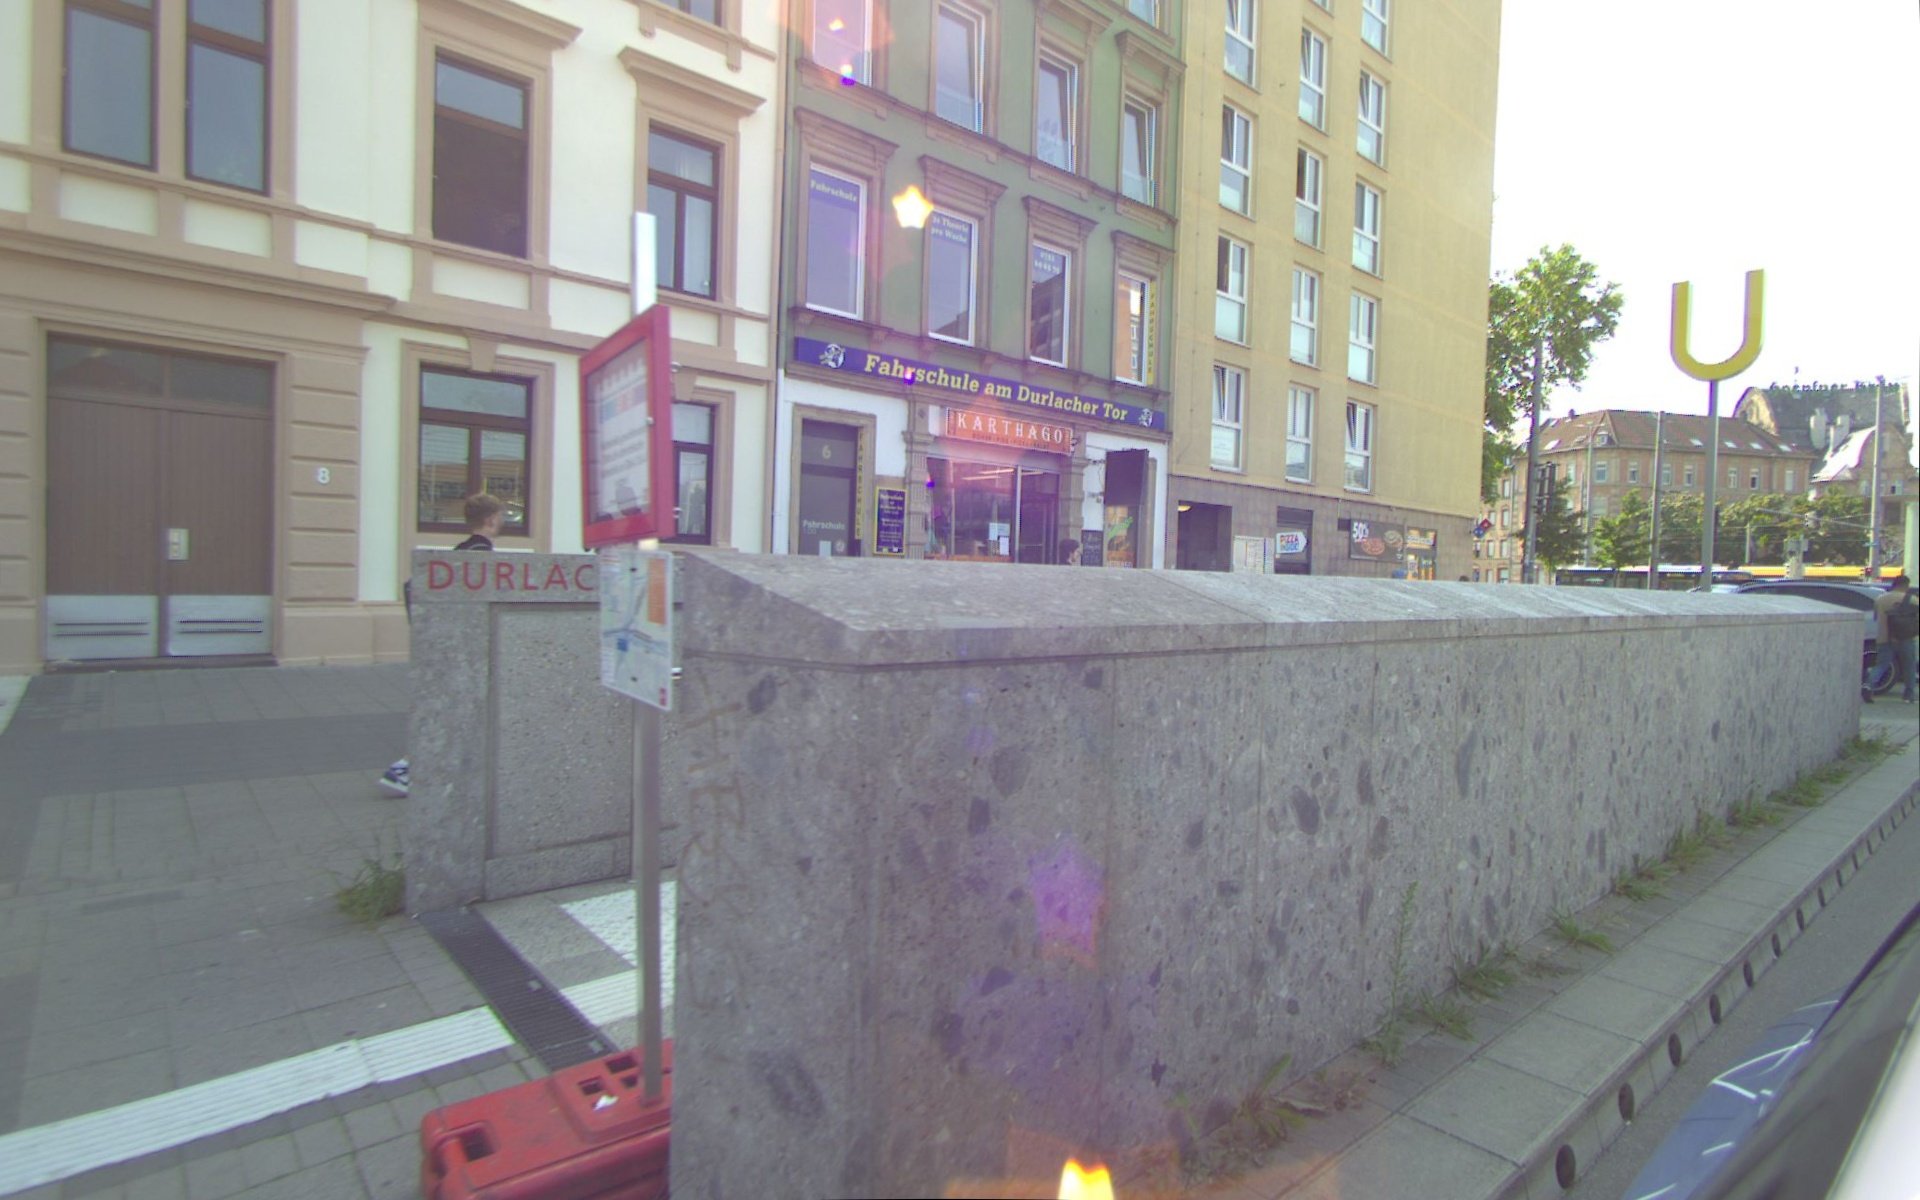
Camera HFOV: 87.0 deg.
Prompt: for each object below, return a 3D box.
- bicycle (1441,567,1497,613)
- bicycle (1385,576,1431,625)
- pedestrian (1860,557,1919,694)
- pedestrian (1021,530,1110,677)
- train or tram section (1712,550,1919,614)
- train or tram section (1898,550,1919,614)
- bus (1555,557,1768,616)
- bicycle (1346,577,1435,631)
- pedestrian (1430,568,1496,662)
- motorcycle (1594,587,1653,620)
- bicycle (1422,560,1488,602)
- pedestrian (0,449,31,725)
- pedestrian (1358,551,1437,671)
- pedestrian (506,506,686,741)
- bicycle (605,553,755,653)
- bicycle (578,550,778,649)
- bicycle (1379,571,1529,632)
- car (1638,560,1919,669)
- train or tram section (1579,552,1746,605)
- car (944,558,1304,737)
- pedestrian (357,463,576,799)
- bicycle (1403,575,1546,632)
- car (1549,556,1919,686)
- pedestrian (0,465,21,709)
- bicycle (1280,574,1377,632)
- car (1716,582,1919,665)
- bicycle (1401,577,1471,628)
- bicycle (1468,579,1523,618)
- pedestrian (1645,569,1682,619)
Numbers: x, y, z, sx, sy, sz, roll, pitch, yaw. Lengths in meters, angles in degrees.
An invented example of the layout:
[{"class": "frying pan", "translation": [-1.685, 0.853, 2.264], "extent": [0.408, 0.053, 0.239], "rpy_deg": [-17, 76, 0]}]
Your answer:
[{"class": "bicycle", "translation": [14.459, -0.289, 28.728], "extent": [1.926, 1.262, 0.729], "rpy_deg": [0, 2, -42]}, {"class": "bicycle", "translation": [11.807, 0.016, 26.668], "extent": [1.796, 1.253, 0.409], "rpy_deg": [0, 2, -43]}, {"class": "pedestrian", "translation": [12.642, 0.338, 13.524], "extent": [0.865, 1.774, 0.859], "rpy_deg": [-1, -3, 44]}, {"class": "pedestrian", "translation": [1.237, 0.014, 11.716], "extent": [0.841, 1.601, 0.966], "rpy_deg": [2, 2, 16]}, {"class": "train or tram section", "translation": [54.368, -1.268, 64.311], "extent": [2.542, 3.604, 12.240], "rpy_deg": [2, 2, -9]}, {"class": "train or tram section", "translation": [56.161, -0.770, 52.264], "extent": [2.542, 3.604, 12.240], "rpy_deg": [2, 2, -9]}, {"class": "bus", "translation": [40.997, -0.924, 60.048], "extent": [2.678, 3.102, 12.104], "rpy_deg": [2, 2, -9]}, {"class": "bicycle", "translation": [10.638, 0.089, 24.988], "extent": [2.377, 1.253, 0.941], "rpy_deg": [1, 2, -38]}, {"class": "pedestrian", "translation": [8.968, 0.244, 18.072], "extent": [0.841, 1.601, 0.966], "rpy_deg": [2, 2, 16]}, {"class": "motorcycle", "translation": [24.347, 0.112, 37.138], "extent": [2.069, 1.151, 0.914], "rpy_deg": [1, 2, -28]}, {"class": "bicycle", "translation": [15.345, -0.601, 31.407], "extent": [1.721, 1.221, 0.580], "rpy_deg": [3, 2, 43]}, {"class": "pedestrian", "translation": [-6.770, -0.102, 6.587], "extent": [1.000, 1.796, 0.685], "rpy_deg": [2, 1, -41]}, {"class": "pedestrian", "translation": [6.479, 0.143, 14.981], "extent": [0.926, 1.706, 0.672], "rpy_deg": [0, 2, -41]}, {"class": "pedestrian", "translation": [-2.672, 0.137, 7.504], "extent": [0.841, 1.601, 0.966], "rpy_deg": [2, 2, 16]}, {"class": "bicycle", "translation": [-3.557, 0.023, 12.975], "extent": [1.815, 1.198, 0.459], "rpy_deg": [0, 2, -41]}, {"class": "bicycle", "translation": [-3.546, 0.022, 12.930], "extent": [2.426, 1.161, 0.481], "rpy_deg": [3, 0, -39]}, {"class": "bicycle", "translation": [12.799, 0.018, 26.344], "extent": [3.314, 1.422, 0.900], "rpy_deg": [2, 2, 14]}, {"class": "car", "translation": [14.889, 0.214, 17.881], "extent": [4.319, 1.708, 1.983], "rpy_deg": [2, 2, 8]}, {"class": "train or tram section", "translation": [52.553, -1.759, 76.446], "extent": [2.542, 3.604, 12.240], "rpy_deg": [2, 2, -9]}, {"class": "car", "translation": [1.742, 0.397, 10.171], "extent": [3.556, 1.458, 1.634], "rpy_deg": [1, 2, -41]}, {"class": "pedestrian", "translation": [-2.879, 0.156, 5.883], "extent": [0.952, 1.750, 0.853], "rpy_deg": [3, 1, -34]}, {"class": "bicycle", "translation": [14.146, 0.072, 27.945], "extent": [3.314, 1.422, 0.900], "rpy_deg": [2, 2, 14]}, {"class": "car", "translation": [12.053, 0.258, 15.626], "extent": [4.587, 1.734, 2.040], "rpy_deg": [2, 2, 8]}, {"class": "pedestrian", "translation": [-7.599, -0.115, 7.403], "extent": [1.000, 1.796, 0.685], "rpy_deg": [2, 1, -41]}, {"class": "bicycle", "translation": [8.451, 0.059, 23.179], "extent": [2.377, 1.253, 0.941], "rpy_deg": [1, 2, -38]}, {"class": "car", "translation": [17.431, 0.442, 19.842], "extent": [3.723, 1.519, 1.802], "rpy_deg": [0, 0, 9]}, {"class": "bicycle", "translation": [12.324, 0.057, 26.226], "extent": [1.514, 1.254, 0.593], "rpy_deg": [2, 1, -8]}, {"class": "bicycle", "translation": [17.809, -0.059, 33.626], "extent": [2.392, 1.254, 0.793], "rpy_deg": [0, 2, -41]}, {"class": "pedestrian", "translation": [23.900, -0.221, 34.387], "extent": [0.934, 1.628, 0.792], "rpy_deg": [-1, 3, -44]}]
